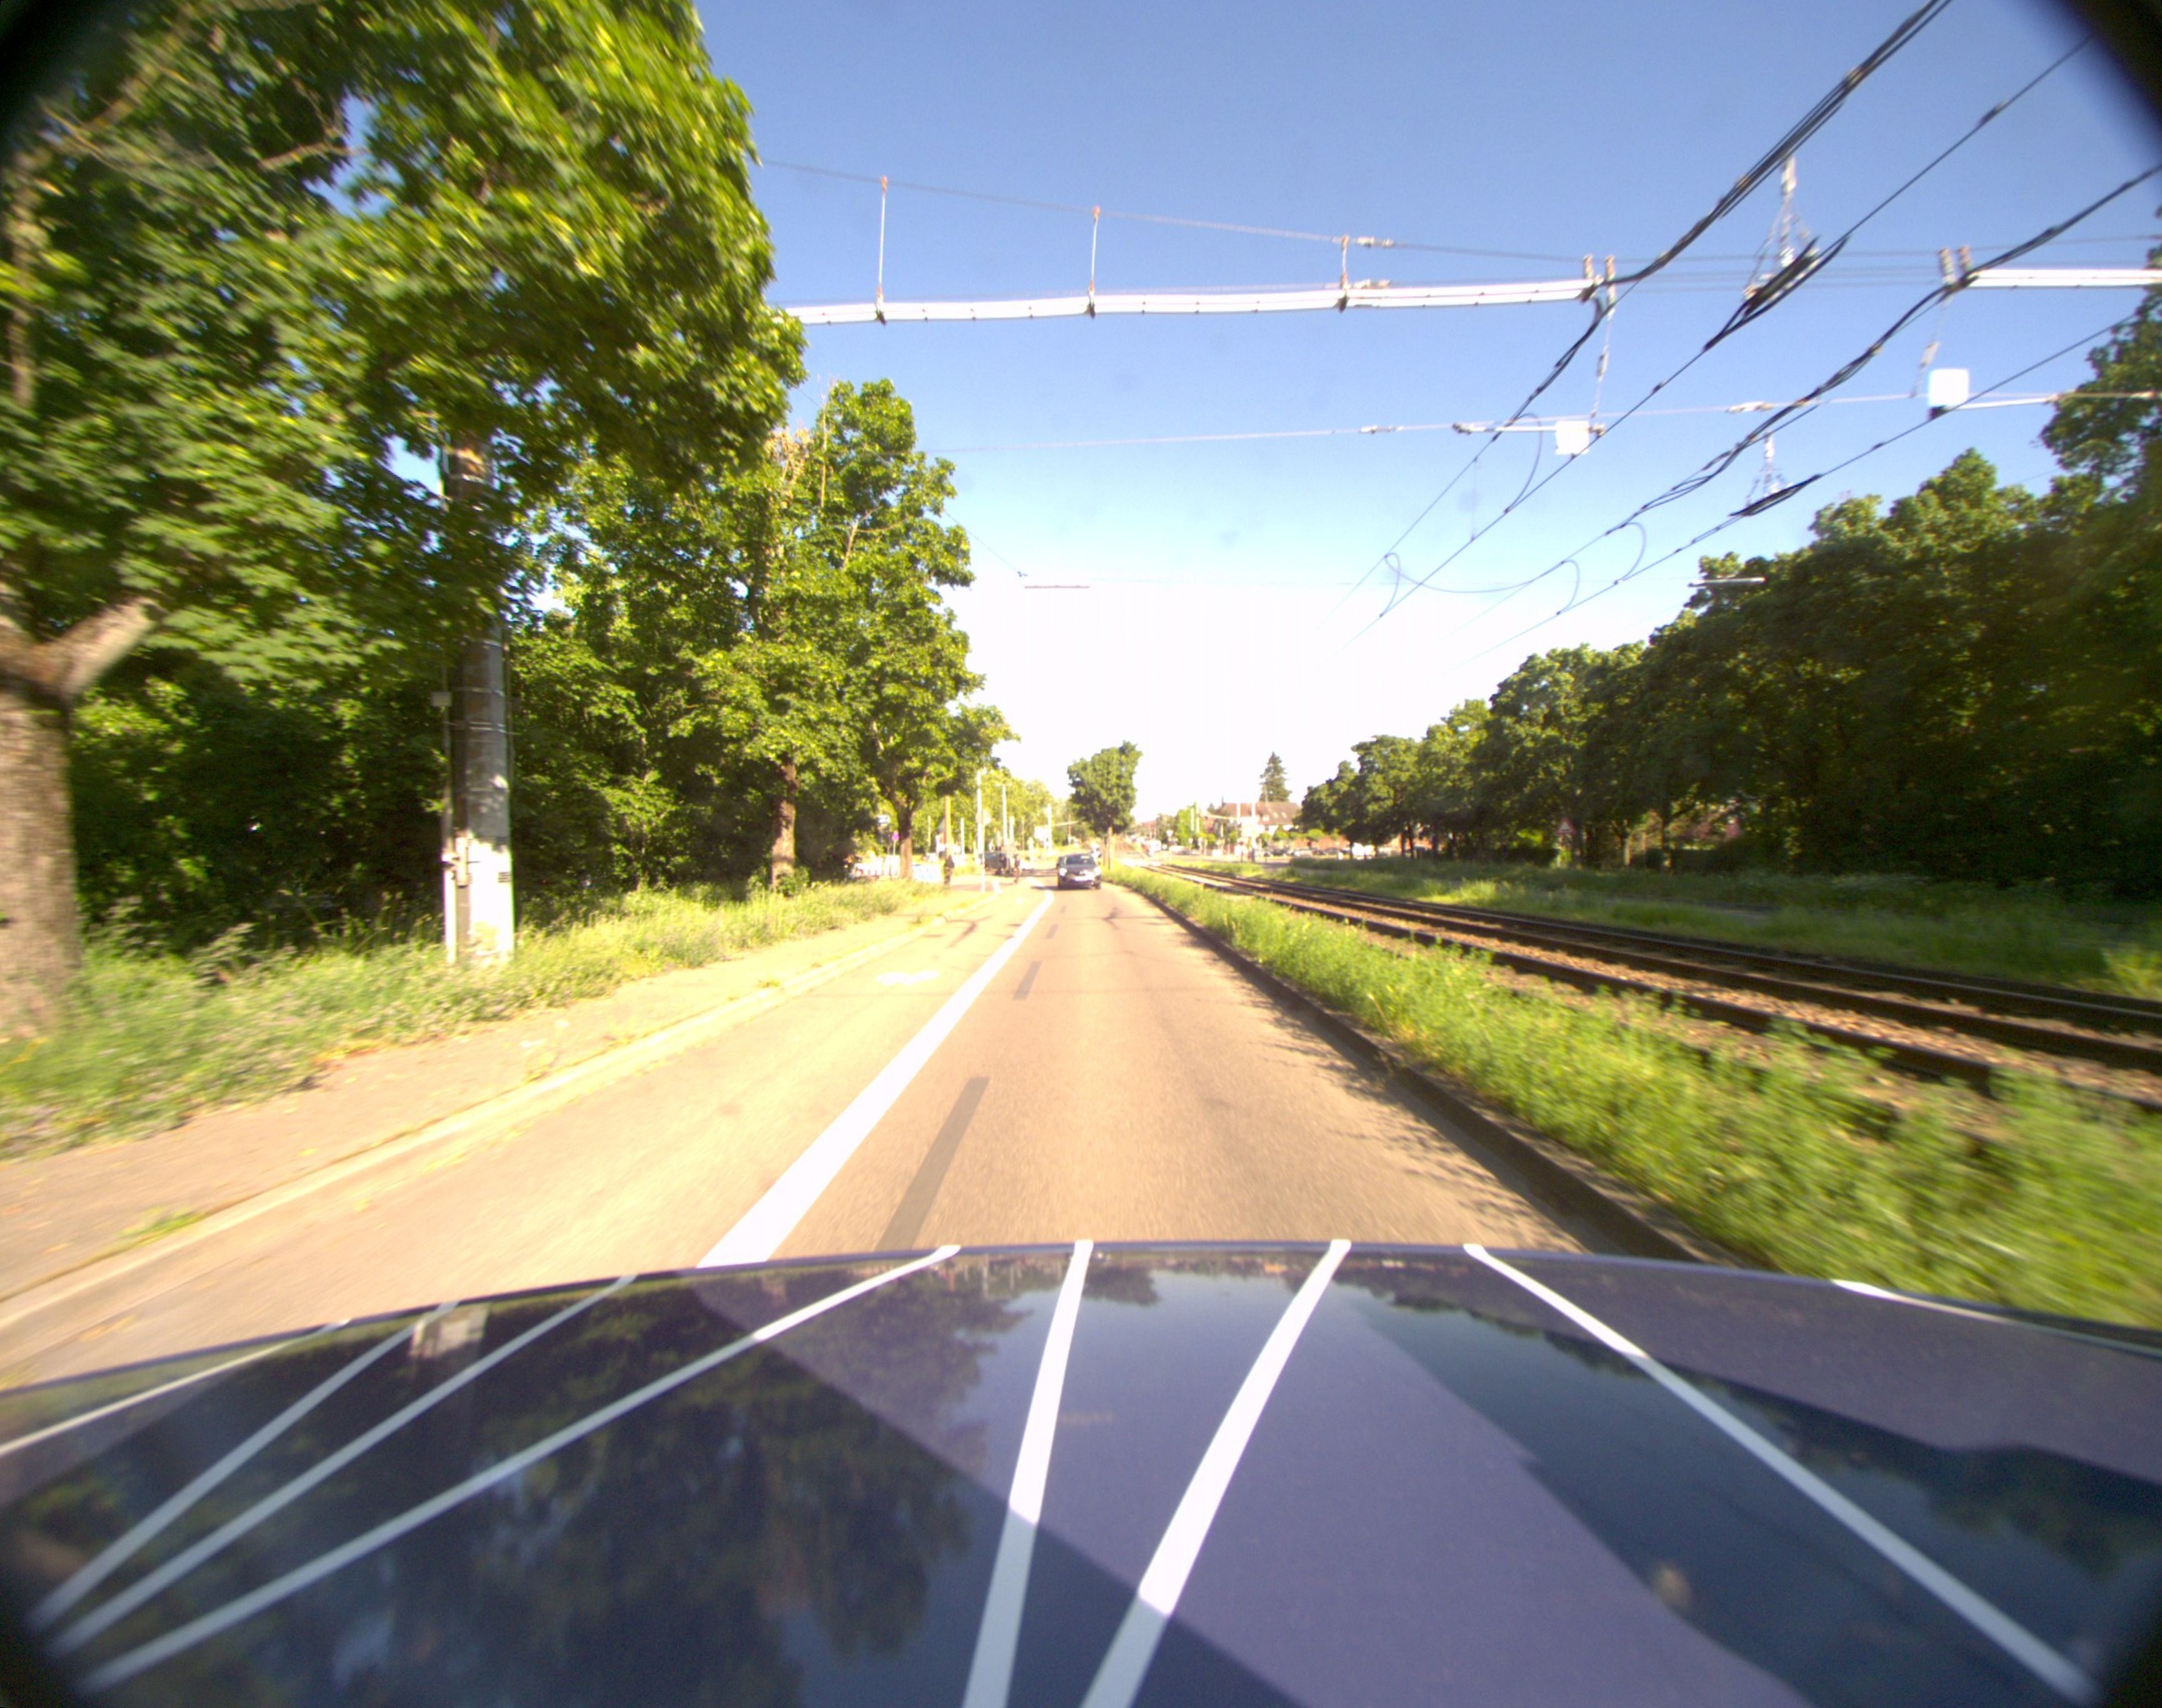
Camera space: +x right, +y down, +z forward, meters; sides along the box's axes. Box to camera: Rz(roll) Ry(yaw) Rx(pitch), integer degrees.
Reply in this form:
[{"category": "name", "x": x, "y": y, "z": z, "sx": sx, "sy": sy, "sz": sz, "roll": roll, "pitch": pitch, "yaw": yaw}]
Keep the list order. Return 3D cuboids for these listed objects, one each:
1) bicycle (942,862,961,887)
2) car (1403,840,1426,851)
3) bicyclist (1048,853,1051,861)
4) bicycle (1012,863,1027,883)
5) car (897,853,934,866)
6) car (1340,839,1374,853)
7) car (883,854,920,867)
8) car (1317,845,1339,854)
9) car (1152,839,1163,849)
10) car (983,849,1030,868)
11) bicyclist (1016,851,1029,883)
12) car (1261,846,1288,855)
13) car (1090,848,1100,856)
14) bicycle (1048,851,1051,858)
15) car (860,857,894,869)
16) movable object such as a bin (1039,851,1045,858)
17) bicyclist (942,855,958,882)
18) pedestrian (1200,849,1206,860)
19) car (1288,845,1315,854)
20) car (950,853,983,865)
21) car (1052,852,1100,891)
[{"category": "bicycle", "x": -6.676, "y": 1.040, "z": 39.260, "sx": 0.620, "sy": 1.183, "sz": 2.505, "roll": 0, "pitch": 0, "yaw": -3}, {"category": "car", "x": 63.284, "y": -1.680, "z": 144.146, "sx": 4.005, "sy": 2.002, "sz": 1.804, "roll": -1, "pitch": 2, "yaw": -26}, {"category": "bicyclist", "x": -5.277, "y": 0.481, "z": 126.428, "sx": 0.511, "sy": 1.333, "sz": 0.565, "roll": -1, "pitch": 2, "yaw": -5}, {"category": "bicycle", "x": -3.312, "y": 1.010, "z": 40.886, "sx": 0.525, "sy": 0.918, "sz": 2.089, "roll": 0, "pitch": 2, "yaw": 3}, {"category": "car", "x": -22.250, "y": 0.721, "z": 102.317, "sx": 4.500, "sy": 1.702, "sz": 1.916, "roll": -1, "pitch": 2, "yaw": -25}, {"category": "car", "x": 50.222, "y": -1.443, "z": 138.165, "sx": 5.928, "sy": 2.397, "sz": 2.176, "roll": -1, "pitch": 2, "yaw": -23}, {"category": "car", "x": -22.496, "y": 0.784, "z": 95.198, "sx": 4.282, "sy": 1.668, "sz": 1.930, "roll": 0, "pitch": 0, "yaw": -25}, {"category": "car", "x": 44.008, "y": -0.760, "z": 135.468, "sx": 3.531, "sy": 1.559, "sz": 1.494, "roll": -1, "pitch": 1, "yaw": -23}, {"category": "car", "x": 18.680, "y": -2.530, "z": 186.306, "sx": 2.346, "sy": 2.444, "sz": 6.870, "roll": -1, "pitch": 1, "yaw": 3}, {"category": "car", "x": -8.381, "y": 0.508, "z": 85.086, "sx": 5.105, "sy": 2.059, "sz": 2.135, "roll": 0, "pitch": 2, "yaw": 36}, {"category": "bicyclist", "x": -3.167, "y": 0.695, "z": 41.170, "sx": 0.616, "sy": 1.670, "sz": 0.933, "roll": 0, "pitch": 1, "yaw": 2}, {"category": "car", "x": 33.527, "y": -0.665, "z": 131.637, "sx": 4.254, "sy": 1.458, "sz": 1.934, "roll": -1, "pitch": 2, "yaw": -25}, {"category": "car", "x": 2.689, "y": -0.371, "z": 143.617, "sx": 1.881, "sy": 1.519, "sz": 4.420, "roll": 0, "pitch": 1, "yaw": 2}, {"category": "bicycle", "x": -5.306, "y": 0.072, "z": 127.007, "sx": 0.468, "sy": 1.112, "sz": 1.819, "roll": -1, "pitch": 1, "yaw": -4}, {"category": "car", "x": -26.923, "y": 1.167, "z": 100.216, "sx": 4.005, "sy": 1.608, "sz": 1.996, "roll": 0, "pitch": 0, "yaw": -24}, {"category": "movable object such as a bin", "x": -6.482, "y": 0.059, "z": 125.616, "sx": 0.911, "sy": 1.062, "sz": 1.316, "roll": -1, "pitch": 2, "yaw": -4}, {"category": "bicyclist", "x": -6.722, "y": 0.751, "z": 39.003, "sx": 0.758, "sy": 1.360, "sz": 0.806, "roll": 0, "pitch": 0, "yaw": -4}, {"category": "pedestrian", "x": 22.005, "y": 0.023, "z": 136.983, "sx": 0.612, "sy": 1.937, "sz": 0.774, "roll": -2, "pitch": 2, "yaw": -41}, {"category": "car", "x": 38.764, "y": -0.734, "z": 133.583, "sx": 4.264, "sy": 1.458, "sz": 1.934, "roll": -1, "pitch": 1, "yaw": -25}, {"category": "car", "x": -15.361, "y": 0.670, "z": 102.220, "sx": 4.094, "sy": 1.591, "sz": 1.813, "roll": -1, "pitch": 1, "yaw": -21}, {"category": "car", "x": -0.167, "y": 0.723, "z": 33.570, "sx": 1.838, "sy": 1.542, "sz": 3.816, "roll": 0, "pitch": 2, "yaw": 3}]
